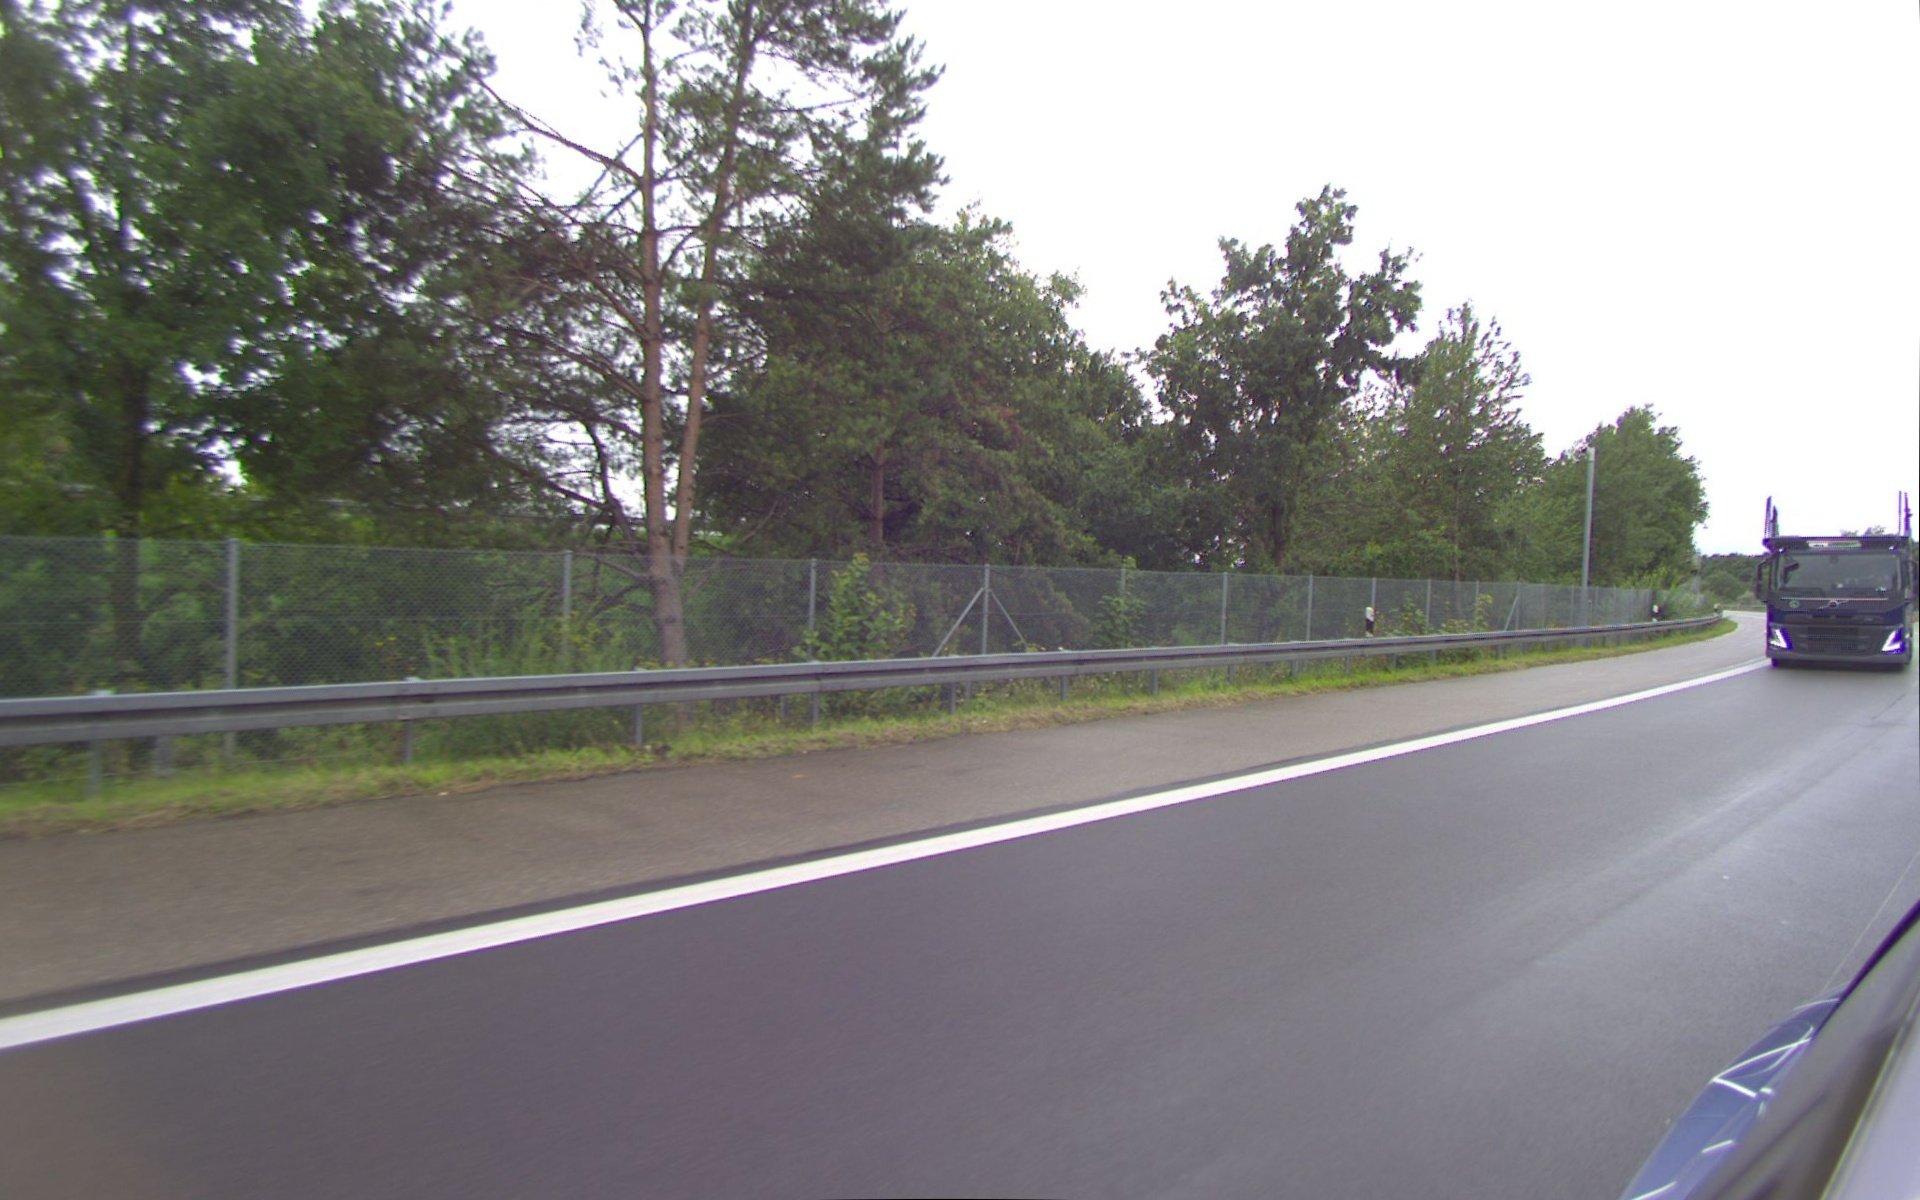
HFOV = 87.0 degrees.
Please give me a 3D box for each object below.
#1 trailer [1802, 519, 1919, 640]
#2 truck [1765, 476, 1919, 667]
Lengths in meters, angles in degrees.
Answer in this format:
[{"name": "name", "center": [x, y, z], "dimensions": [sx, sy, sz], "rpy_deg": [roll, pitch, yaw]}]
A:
[{"name": "trailer", "center": [29.120, -0.576, 32.261], "dimensions": [2.778, 3.326, 10.242], "rpy_deg": [2, 1, 43]}, {"name": "truck", "center": [22.459, -0.578, 25.275], "dimensions": [2.739, 4.018, 8.981], "rpy_deg": [-1, -1, 44]}]
